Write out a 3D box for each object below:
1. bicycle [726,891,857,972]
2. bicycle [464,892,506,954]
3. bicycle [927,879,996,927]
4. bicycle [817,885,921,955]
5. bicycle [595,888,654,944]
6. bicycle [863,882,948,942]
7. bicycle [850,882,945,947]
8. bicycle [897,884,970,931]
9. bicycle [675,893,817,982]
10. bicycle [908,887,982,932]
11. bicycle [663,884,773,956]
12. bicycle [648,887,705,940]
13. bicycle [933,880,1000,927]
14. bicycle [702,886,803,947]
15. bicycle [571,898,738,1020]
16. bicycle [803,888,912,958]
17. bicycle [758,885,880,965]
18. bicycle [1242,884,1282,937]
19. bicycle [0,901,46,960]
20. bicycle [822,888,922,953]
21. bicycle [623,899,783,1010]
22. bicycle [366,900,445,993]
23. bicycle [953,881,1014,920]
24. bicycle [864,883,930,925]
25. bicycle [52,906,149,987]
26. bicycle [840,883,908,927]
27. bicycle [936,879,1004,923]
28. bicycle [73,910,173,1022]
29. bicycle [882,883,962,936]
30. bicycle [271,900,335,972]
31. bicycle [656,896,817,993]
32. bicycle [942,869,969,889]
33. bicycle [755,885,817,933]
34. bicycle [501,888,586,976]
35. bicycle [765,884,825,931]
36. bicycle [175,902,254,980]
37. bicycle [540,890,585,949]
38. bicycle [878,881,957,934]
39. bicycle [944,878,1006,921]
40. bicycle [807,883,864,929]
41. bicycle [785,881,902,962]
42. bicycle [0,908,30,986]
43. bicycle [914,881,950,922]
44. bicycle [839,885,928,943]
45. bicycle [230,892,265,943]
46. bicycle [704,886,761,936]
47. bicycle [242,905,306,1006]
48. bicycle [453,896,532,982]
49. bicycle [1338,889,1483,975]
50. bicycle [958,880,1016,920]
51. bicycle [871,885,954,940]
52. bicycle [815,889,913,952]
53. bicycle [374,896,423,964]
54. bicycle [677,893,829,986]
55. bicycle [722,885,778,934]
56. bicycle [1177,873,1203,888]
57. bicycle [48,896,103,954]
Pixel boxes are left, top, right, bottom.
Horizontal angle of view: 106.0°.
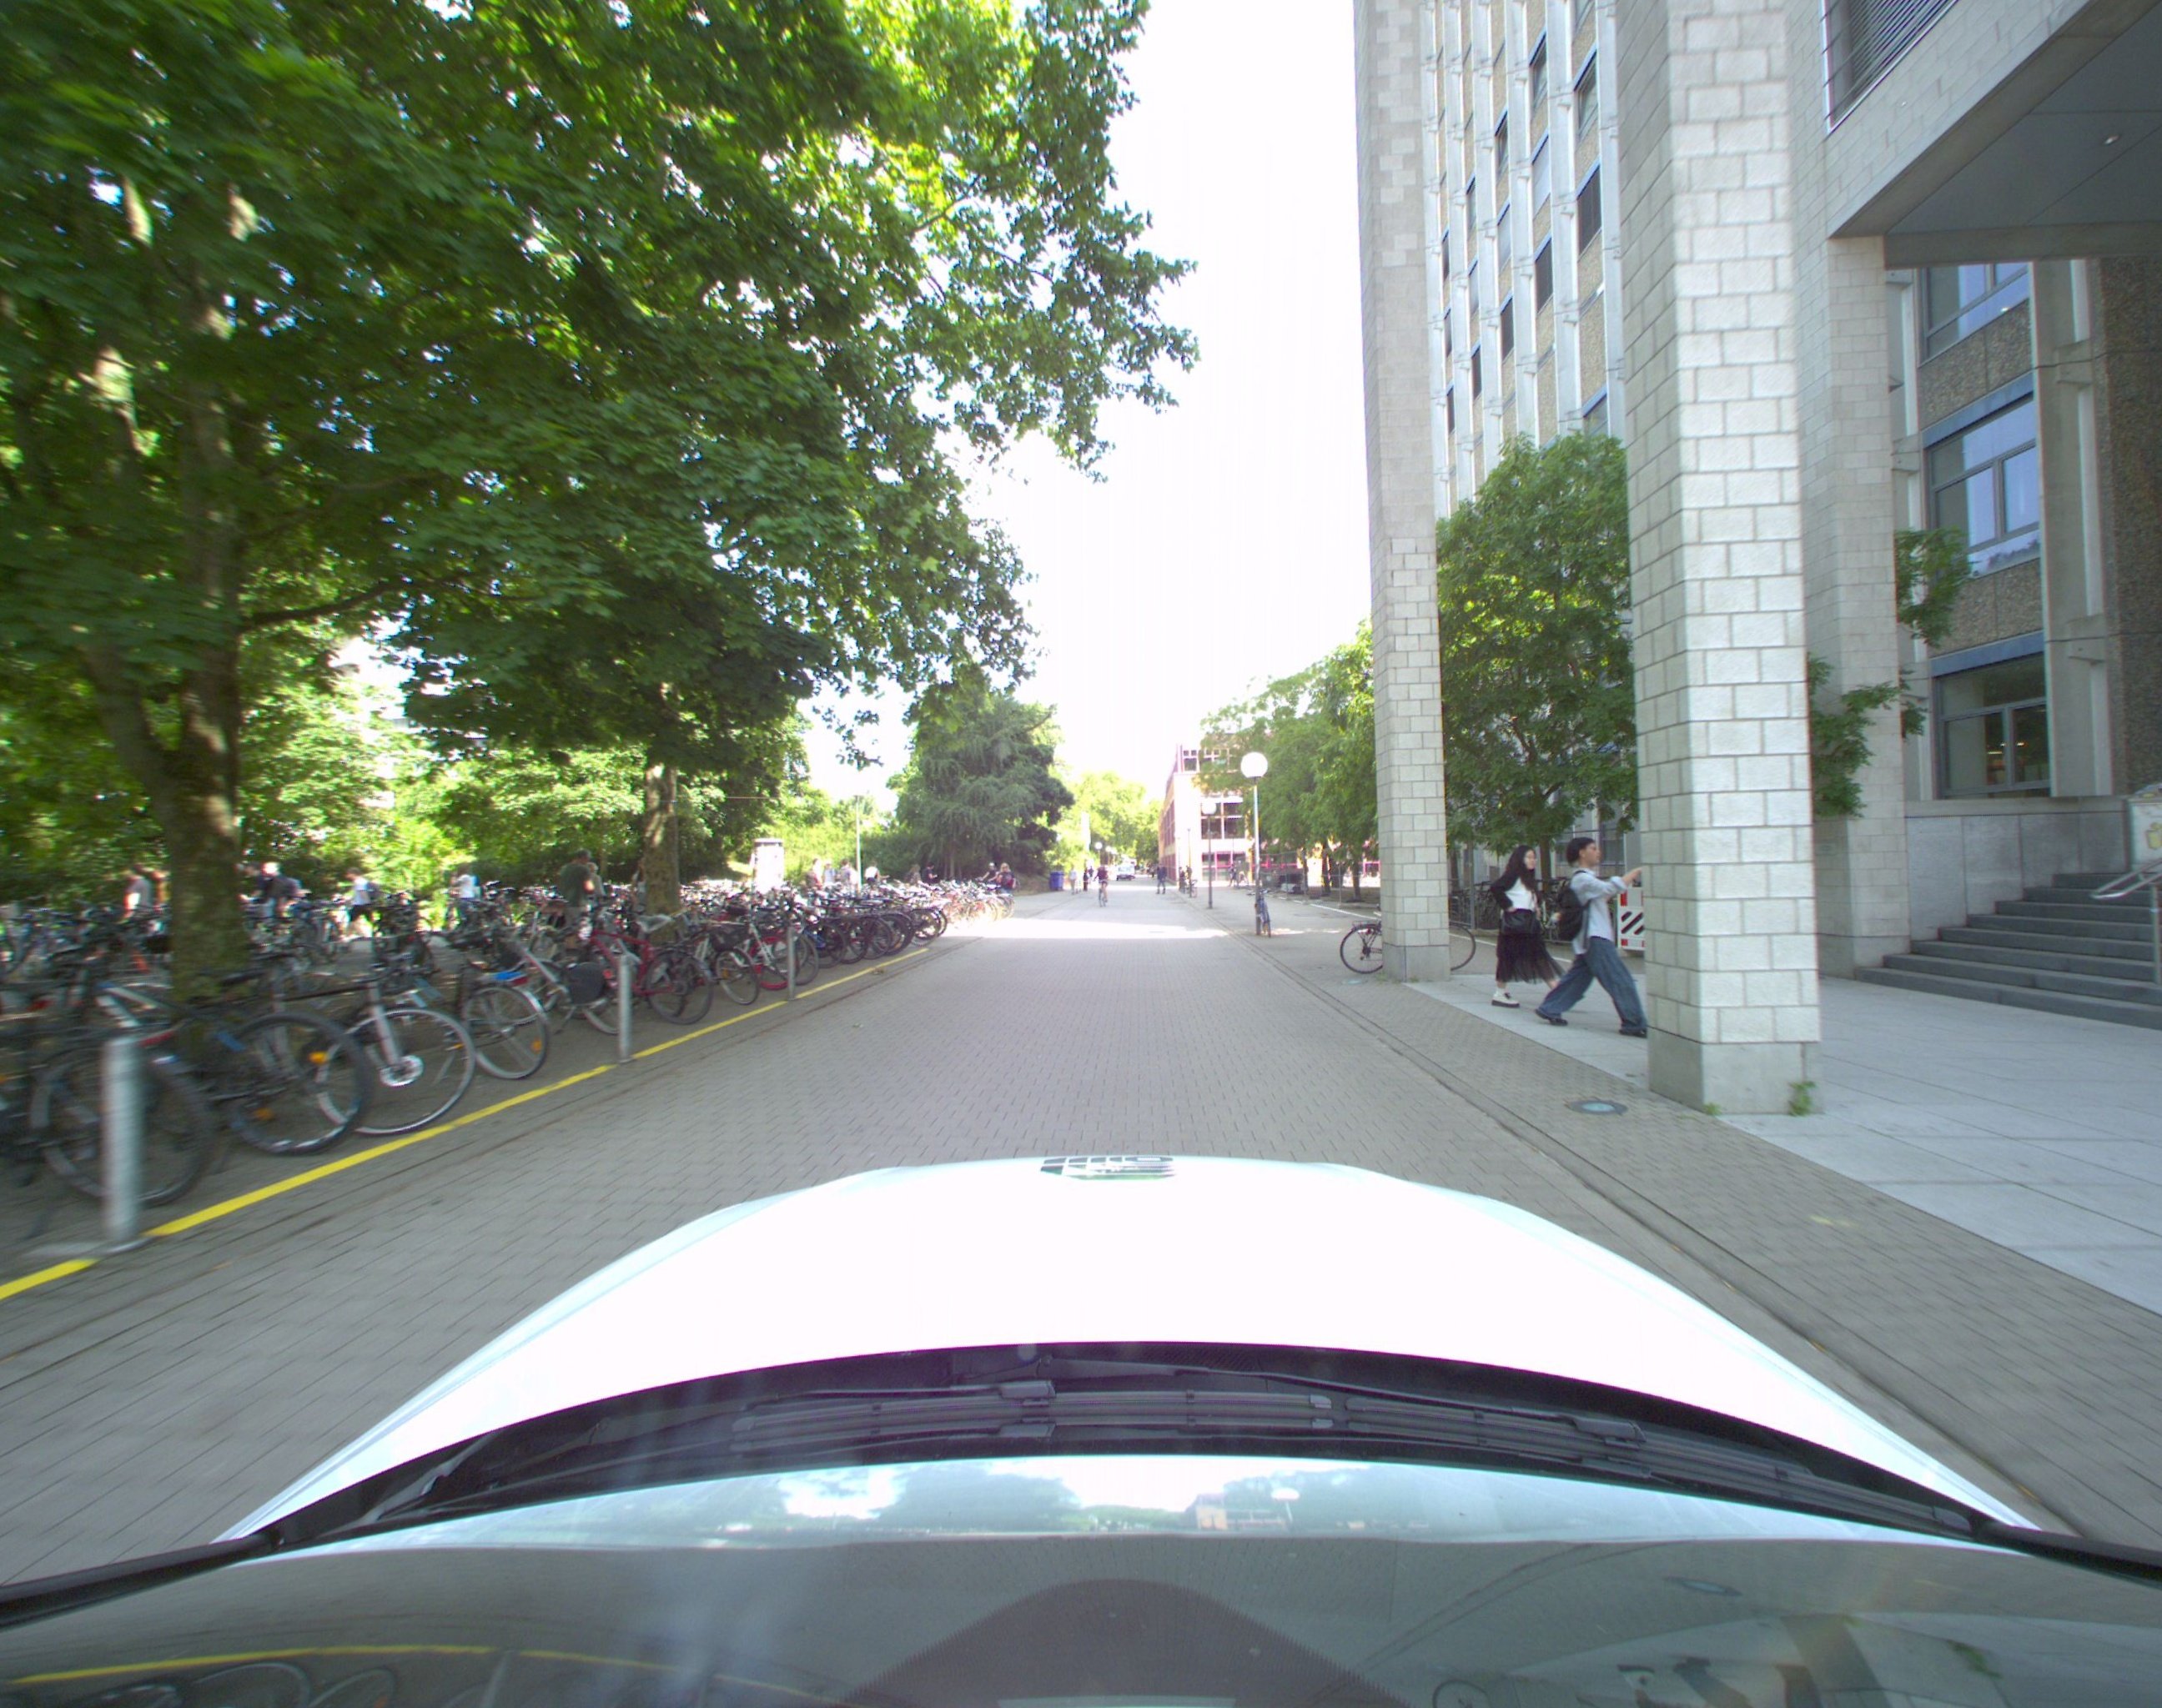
[{"bbox_3d":[-4.216,1.115,11.934,1.734,1.108,0.495,0,-1,-9],"label":"bicycle"},{"bbox_3d":[-11.375,1.284,15.527,0.476,1.083,1.679,1,-2,-42],"label":"bicycle"},{"bbox_3d":[-3.052,1.241,20.730,1.696,1.168,0.472,0,-1,-14],"label":"bicycle"},{"bbox_3d":[-3.663,1.133,14.165,1.693,1.145,0.473,0,-1,-9],"label":"bicycle"},{"bbox_3d":[-9.433,1.260,16.817,1.678,1.083,0.477,-1,-2,39],"label":"bicycle"},{"bbox_3d":[-3.637,1.192,16.982,1.693,1.188,0.473,0,-1,-8],"label":"bicycle"},{"bbox_3d":[-3.491,1.143,15.589,1.691,1.199,0.536,0,-1,-5],"label":"bicycle"},{"bbox_3d":[-3.588,1.292,19.862,1.705,1.062,0.469,0,-1,-31],"label":"bicycle"},{"bbox_3d":[-4.525,1.102,11.095,1.741,1.108,0.493,0,-1,-21],"label":"bicycle"},{"bbox_3d":[-3.241,1.311,19.489,1.705,1.019,0.469,0,-1,-31],"label":"bicycle"},{"bbox_3d":[-6.383,1.147,14.387,1.693,1.220,0.501,0,-1,-8],"label":"bicycle"},{"bbox_3d":[-8.840,1.269,17.768,1.678,1.083,0.477,-1,-2,39],"label":"bicycle"},{"bbox_3d":[-2.987,1.276,21.269,1.693,1.168,0.472,0,-1,-9],"label":"bicycle"},{"bbox_3d":[-6.208,1.174,15.438,1.693,1.108,0.501,0,-1,-8],"label":"bicycle"},{"bbox_3d":[-4.332,1.031,8.282,1.611,1.144,0.499,-1,-1,17],"label":"bicycle"},{"bbox_3d":[-3.715,1.142,13.641,1.692,1.108,0.496,0,-1,-7],"label":"bicycle"},{"bbox_3d":[-4.048,1.090,12.618,1.728,1.179,0.497,-1,-1,3],"label":"bicycle"},{"bbox_3d":[3.948,1.215,17.890,0.535,1.039,1.860,-2,-1,3],"label":"bicycle"},{"bbox_3d":[-21.749,1.540,16.636,0.520,1.110,1.756,1,-2,-44],"label":"bicycle"},{"bbox_3d":[-3.732,1.177,14.627,1.693,1.108,0.473,0,-1,-9],"label":"bicycle"},{"bbox_3d":[-4.148,1.061,8.926,1.720,1.108,0.578,-1,-1,22],"label":"bicycle"},{"bbox_3d":[-9.088,1.200,10.932,1.678,1.108,0.506,-2,-2,40],"label":"bicycle"},{"bbox_3d":[-2.815,1.346,23.588,1.690,1.091,0.473,-1,-1,-3],"label":"bicycle"},{"bbox_3d":[-4.949,1.336,21.909,1.681,1.083,0.476,-1,-1,16],"label":"bicycle"},{"bbox_3d":[-14.941,1.367,12.449,0.476,1.083,1.681,0,-1,-34],"label":"bicycle"},{"bbox_3d":[-5.310,1.291,20.854,1.681,1.083,0.476,-1,-1,17],"label":"bicycle"},{"bbox_3d":[-2.995,1.264,21.982,1.762,1.168,0.476,-1,-1,16],"label":"bicycle"},{"bbox_3d":[-11.024,1.234,9.415,1.678,1.108,0.635,-2,-2,44],"label":"bicycle"},{"bbox_3d":[-3.559,1.225,18.240,1.701,1.108,0.470,0,-1,-24],"label":"bicycle"},{"bbox_3d":[-12.958,1.331,13.598,0.476,1.083,1.681,0,-1,-34],"label":"bicycle"},{"bbox_3d":[-4.123,1.072,9.799,1.727,1.108,0.497,-1,-1,3],"label":"bicycle"},{"bbox_3d":[-6.660,1.333,43.275,0.468,1.047,1.709,1,-1,25],"label":"bicycle"},{"bbox_3d":[-6.929,1.271,19.091,1.677,1.083,0.477,-1,-2,35],"label":"bicycle"},{"bbox_3d":[-7.968,1.109,12.047,1.678,1.200,0.579,-2,-2,40],"label":"bicycle"},{"bbox_3d":[-6.940,1.271,19.705,1.677,1.083,0.477,-1,-2,35],"label":"bicycle"},{"bbox_3d":[-13.582,1.323,12.802,0.476,1.083,1.681,0,-1,-34],"label":"bicycle"},{"bbox_3d":[-10.345,1.268,16.228,0.476,1.083,1.679,1,-2,-42],"label":"bicycle"},{"bbox_3d":[-3.744,1.205,18.665,1.701,1.157,0.470,0,-1,-24],"label":"bicycle"},{"bbox_3d":[-2.961,1.277,22.834,1.690,1.168,0.473,0,-1,-3],"label":"bicycle"},{"bbox_3d":[-6.112,1.274,20.234,1.678,1.083,0.477,-1,-2,39],"label":"bicycle"},{"bbox_3d":[-3.815,1.076,13.168,1.731,1.236,0.496,0,-1,-4],"label":"bicycle"},{"bbox_3d":[-15.612,1.336,11.460,0.476,1.083,1.681,0,-1,-34],"label":"bicycle"},{"bbox_3d":[-4.181,1.323,22.985,0.504,1.083,1.703,-1,-1,7],"label":"bicycle"},{"bbox_3d":[-3.962,1.206,16.446,1.693,1.108,0.564,0,-1,-8],"label":"bicycle"},{"bbox_3d":[-19.414,1.457,18.977,0.520,1.110,1.756,1,-2,-44],"label":"bicycle"},{"bbox_3d":[-7.964,1.280,18.571,1.678,1.083,0.477,-1,-2,39],"label":"bicycle"},{"bbox_3d":[-10.068,1.214,10.147,1.678,1.108,0.506,-2,-2,44],"label":"bicycle"},{"bbox_3d":[-8.392,1.171,11.588,1.678,1.108,0.506,-2,-2,40],"label":"bicycle"},{"bbox_3d":[4.364,1.023,10.828,1.733,1.039,0.449,-2,0,-1],"label":"bicycle"},{"bbox_3d":[-2.759,1.347,24.055,1.691,1.159,0.473,0,-1,-5],"label":"bicycle"},{"bbox_3d":[-3.610,1.241,17.509,1.693,1.108,0.581,0,-1,-8],"label":"bicycle"},{"bbox_3d":[-3.975,1.217,15.013,1.693,1.108,0.473,0,-1,-8],"label":"bicycle"},{"bbox_3d":[-12.152,1.320,14.524,0.476,1.083,1.681,0,-1,-34],"label":"bicycle"},{"bbox_3d":[-4.169,1.083,10.423,1.730,1.126,0.497,-1,-1,-1],"label":"bicycle"},{"bbox_3d":[-7.732,1.264,19.002,1.678,1.083,0.477,-1,-2,39],"label":"bicycle"},{"bbox_3d":[8.194,1.988,61.214,1.883,1.083,0.592,-2,-1,36],"label":"bicycle"},{"bbox_3d":[-21.210,1.467,17.194,0.520,1.110,1.756,1,-2,-44],"label":"bicycle"}]
